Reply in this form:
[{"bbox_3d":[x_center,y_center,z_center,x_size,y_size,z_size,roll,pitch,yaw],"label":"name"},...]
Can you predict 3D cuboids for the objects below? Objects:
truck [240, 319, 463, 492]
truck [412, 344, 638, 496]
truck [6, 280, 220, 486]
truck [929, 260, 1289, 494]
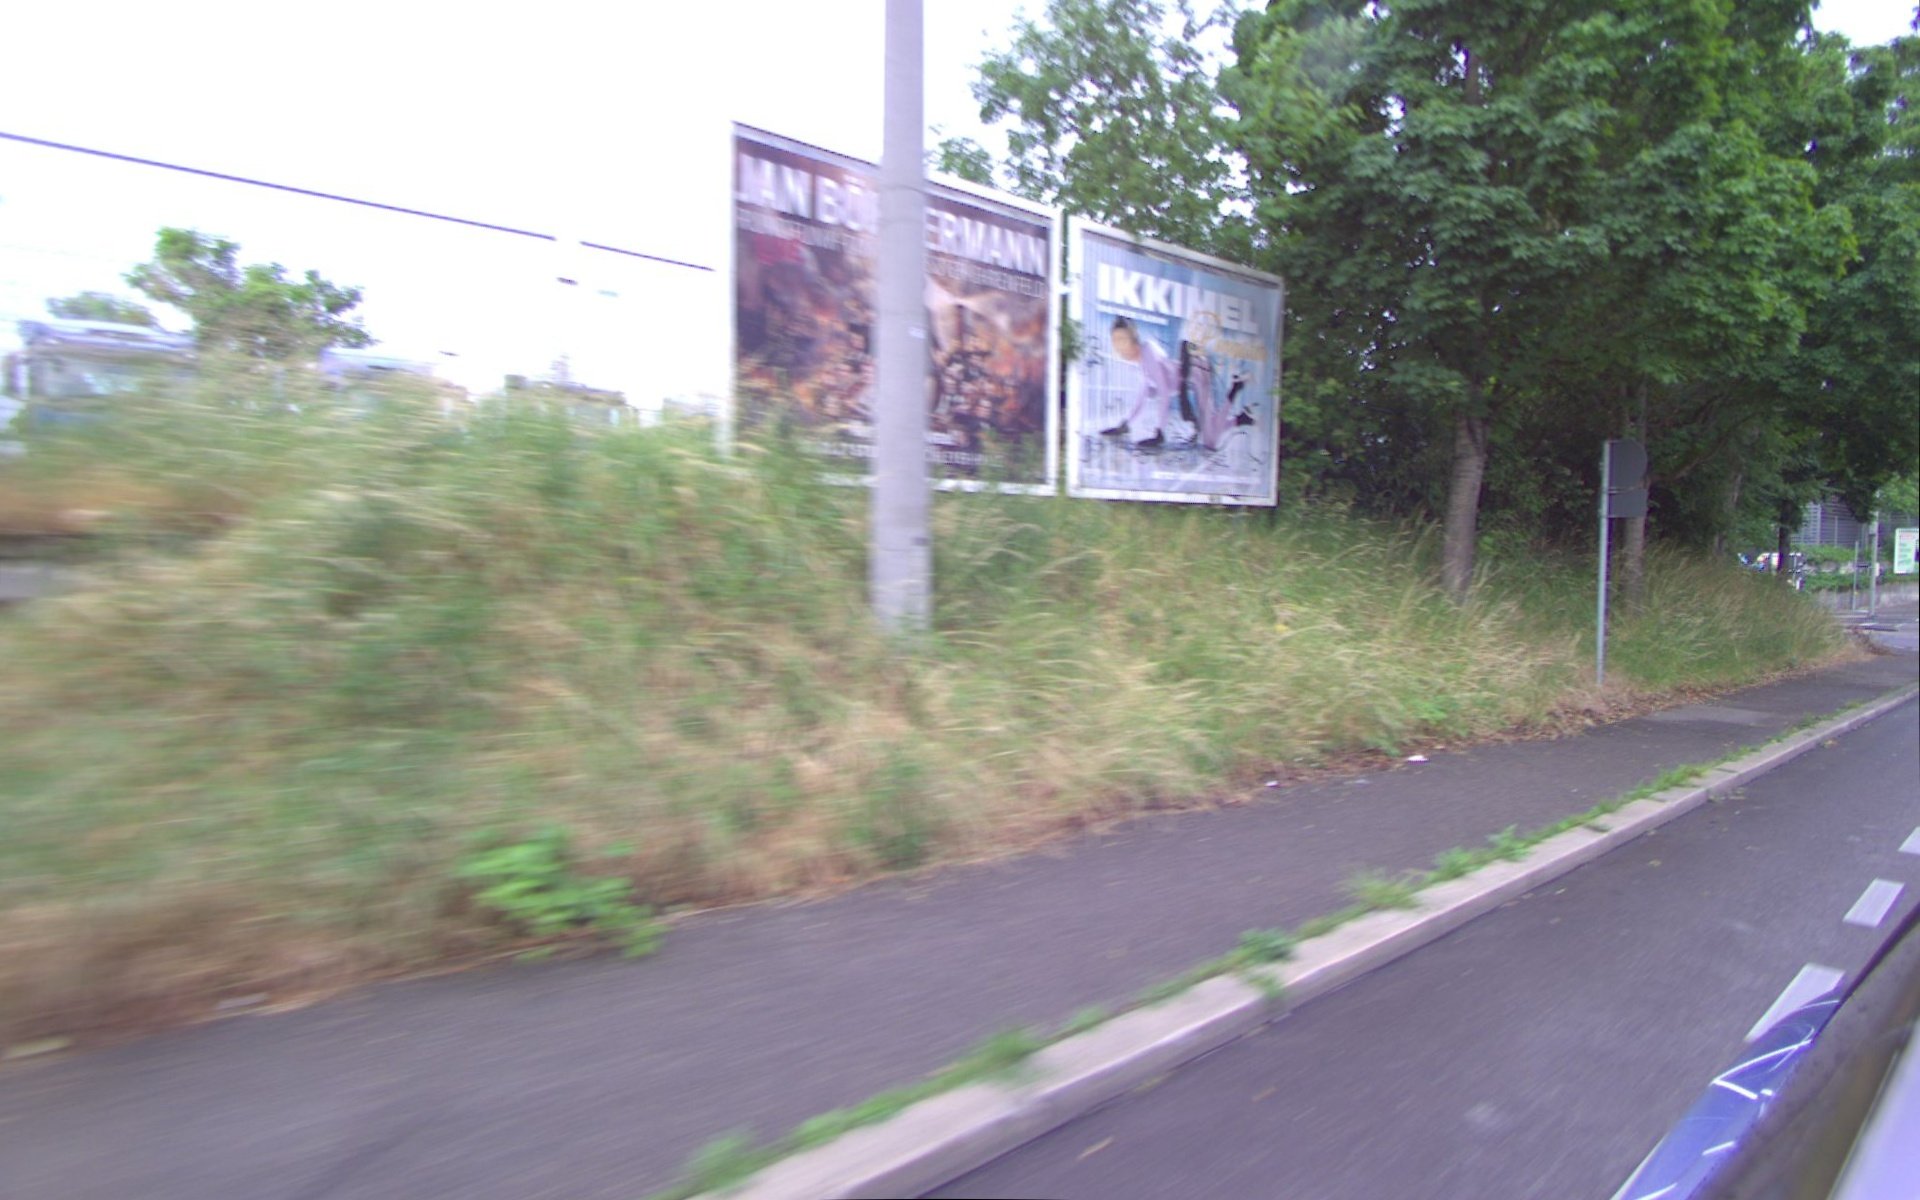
[{"bbox_3d":[-13.423,-3.885,21.953,2.544,2.686,8.103,-3,4,-42],"label":"truck"},{"bbox_3d":[-10.817,-4.088,24.653,2.544,2.771,8.017,-3,4,-42],"label":"truck"},{"bbox_3d":[-16.243,-3.721,19.254,2.544,2.648,8.309,-3,4,-42],"label":"truck"},{"bbox_3d":[2.602,-3.293,16.415,5.948,2.684,2.287,-3,-2,-41],"label":"truck"}]
